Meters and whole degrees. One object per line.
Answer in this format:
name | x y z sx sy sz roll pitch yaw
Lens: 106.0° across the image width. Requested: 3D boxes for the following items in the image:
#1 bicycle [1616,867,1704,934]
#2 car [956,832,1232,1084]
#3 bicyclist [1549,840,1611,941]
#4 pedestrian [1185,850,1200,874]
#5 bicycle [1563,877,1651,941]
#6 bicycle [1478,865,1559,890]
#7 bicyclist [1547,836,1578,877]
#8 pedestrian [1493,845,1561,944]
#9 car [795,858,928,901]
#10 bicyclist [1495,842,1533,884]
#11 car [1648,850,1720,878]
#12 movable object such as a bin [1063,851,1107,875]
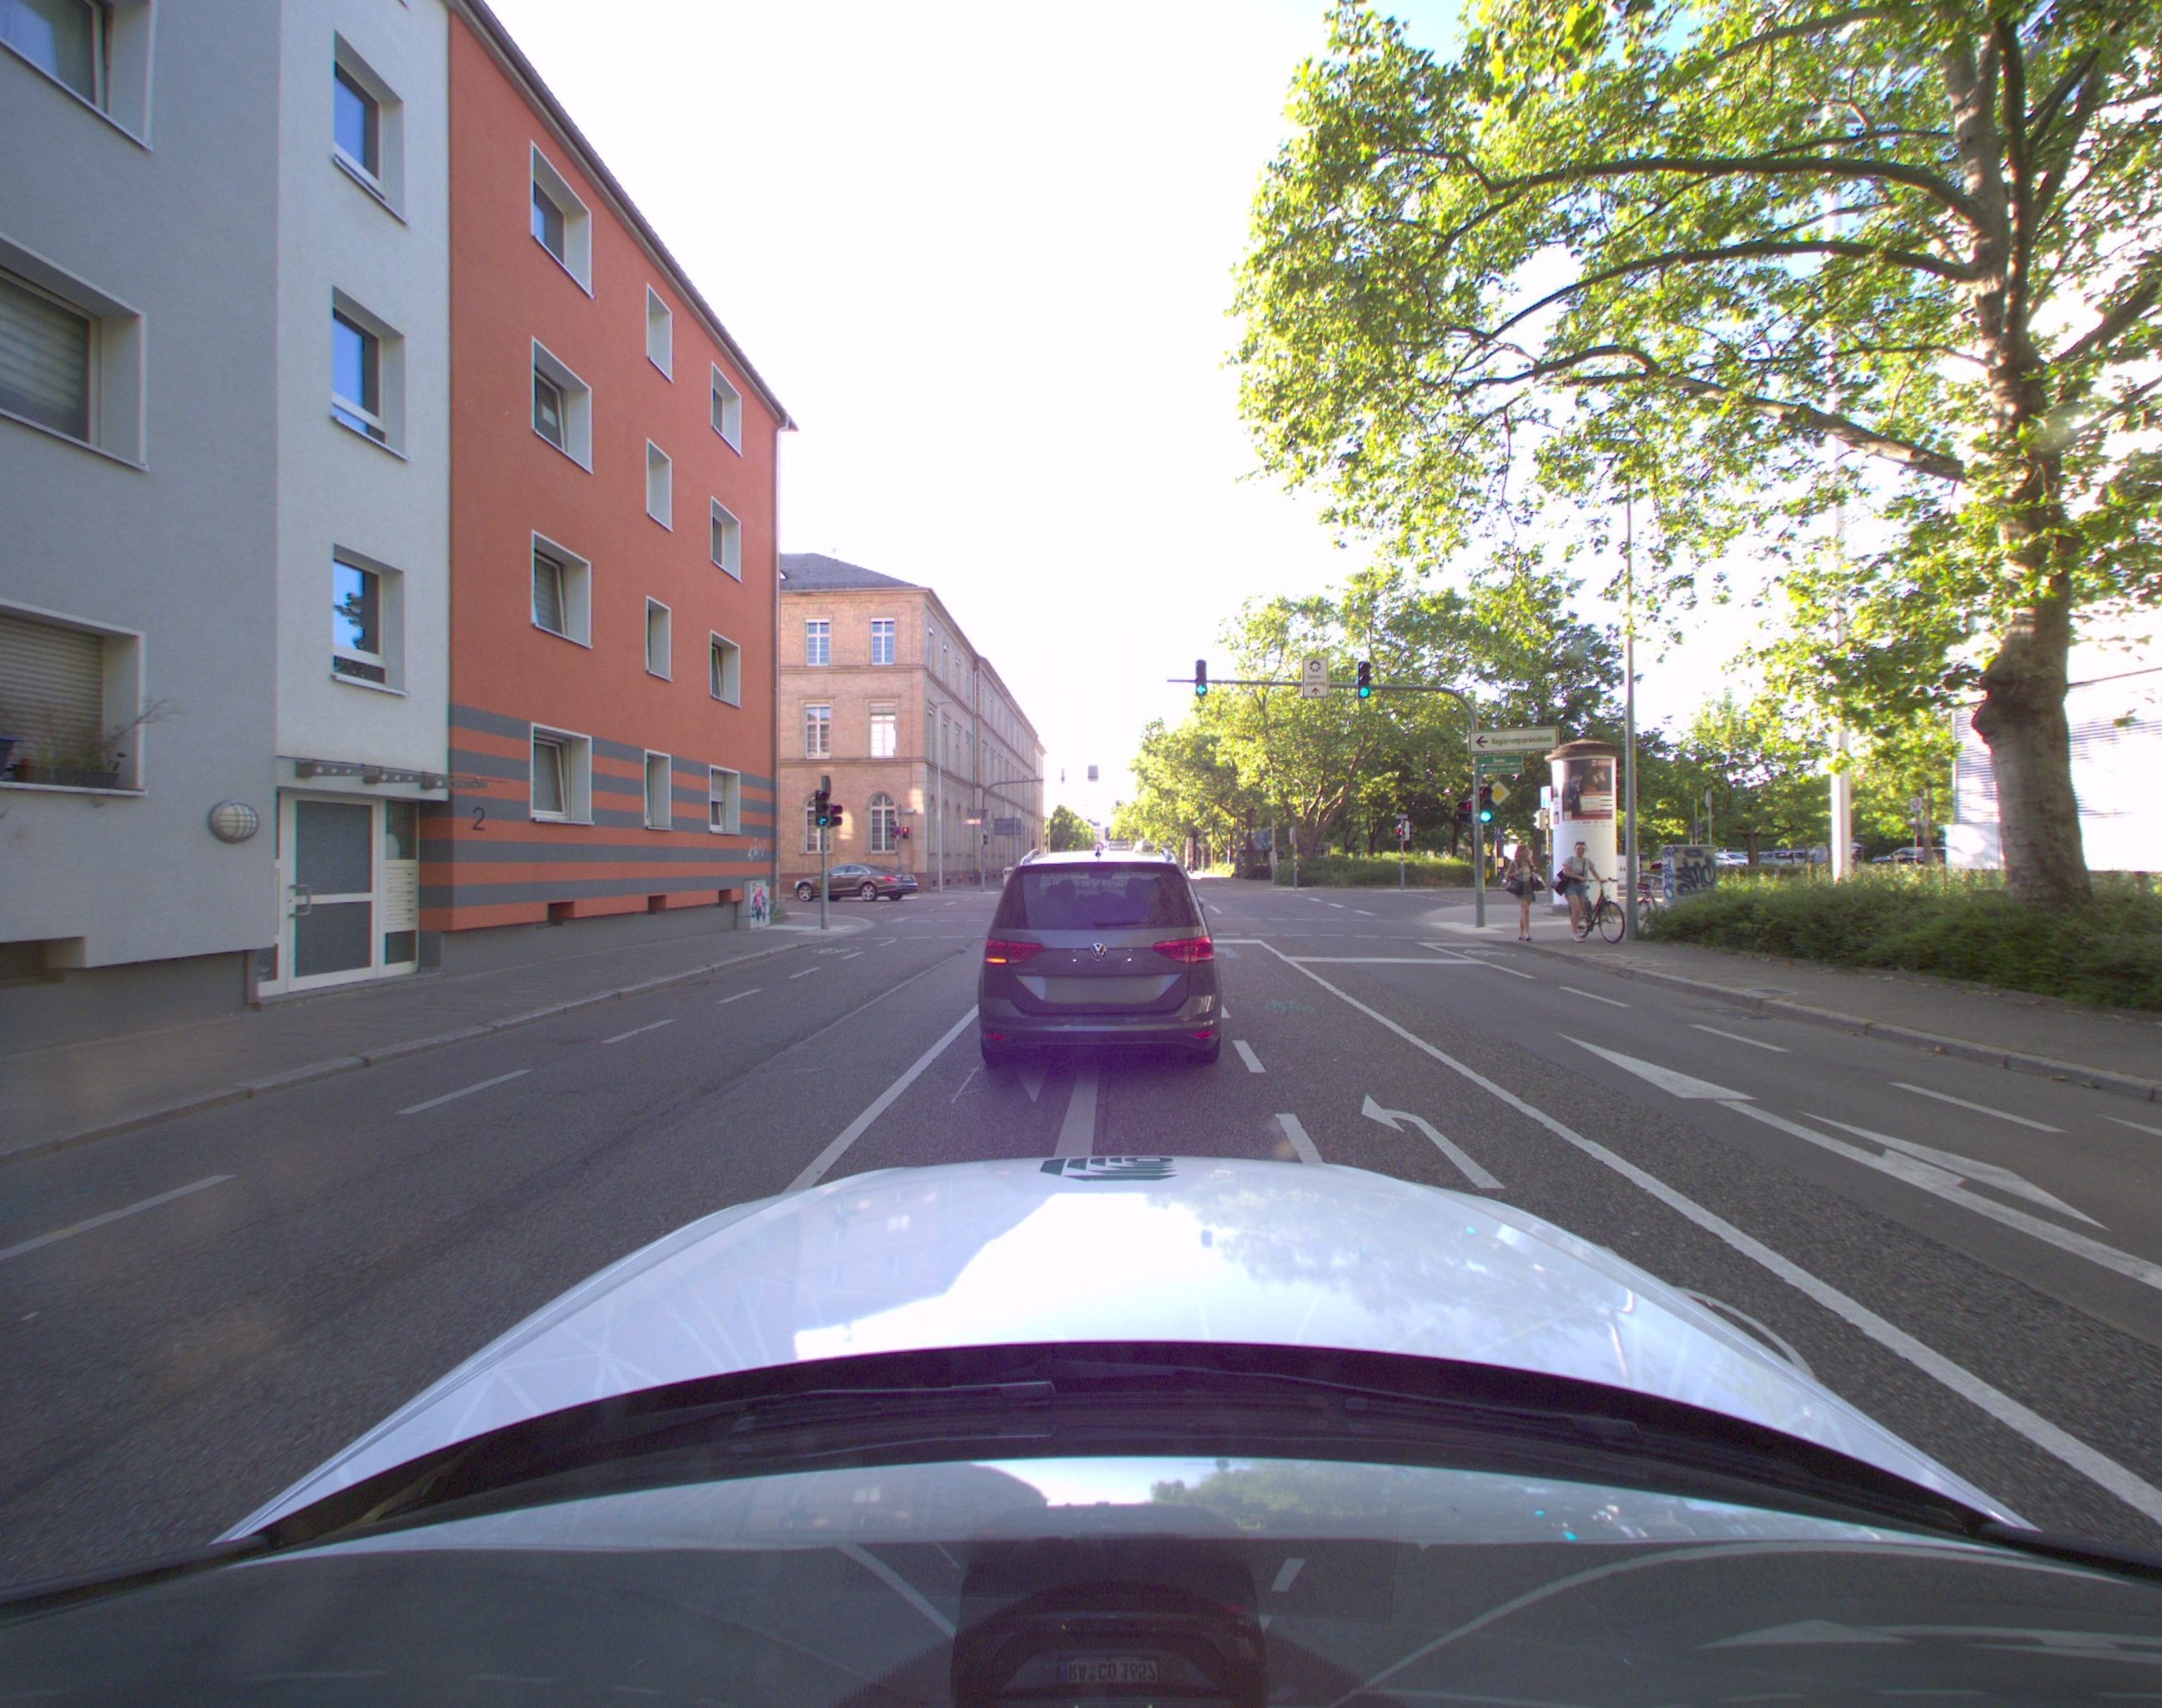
bicycle | 10.887 0.851 15.299 1.998 1.182 0.466 0 -1 -28
car | 0.172 0.674 7.217 1.755 1.607 4.003 -1 0 3
bicyclist | 8.755 0.641 14.316 0.630 1.714 0.655 -1 -3 1
pedestrian | 12.576 0.892 91.806 1.417 2.667 1.146 0 -1 -6
bicycle | 9.180 0.935 14.287 0.519 1.035 1.648 0 -1 2
bicycle | 18.860 1.014 35.160 2.987 1.038 0.942 0 -1 -1
bicyclist | 18.735 0.077 31.671 0.941 1.545 1.133 -1 1 34
pedestrian | 7.995 0.718 14.628 0.771 1.719 0.692 -2 -2 1
car | -8.239 0.927 30.602 4.457 1.529 1.939 -1 0 19
bicyclist | 18.689 0.382 35.151 1.124 1.808 0.978 0 -1 0
car | 40.625 0.686 54.989 1.985 1.779 4.002 0 -1 2
movable object such as a bin | 0.446 1.046 97.162 4.782 2.777 2.488 -1 -1 45
